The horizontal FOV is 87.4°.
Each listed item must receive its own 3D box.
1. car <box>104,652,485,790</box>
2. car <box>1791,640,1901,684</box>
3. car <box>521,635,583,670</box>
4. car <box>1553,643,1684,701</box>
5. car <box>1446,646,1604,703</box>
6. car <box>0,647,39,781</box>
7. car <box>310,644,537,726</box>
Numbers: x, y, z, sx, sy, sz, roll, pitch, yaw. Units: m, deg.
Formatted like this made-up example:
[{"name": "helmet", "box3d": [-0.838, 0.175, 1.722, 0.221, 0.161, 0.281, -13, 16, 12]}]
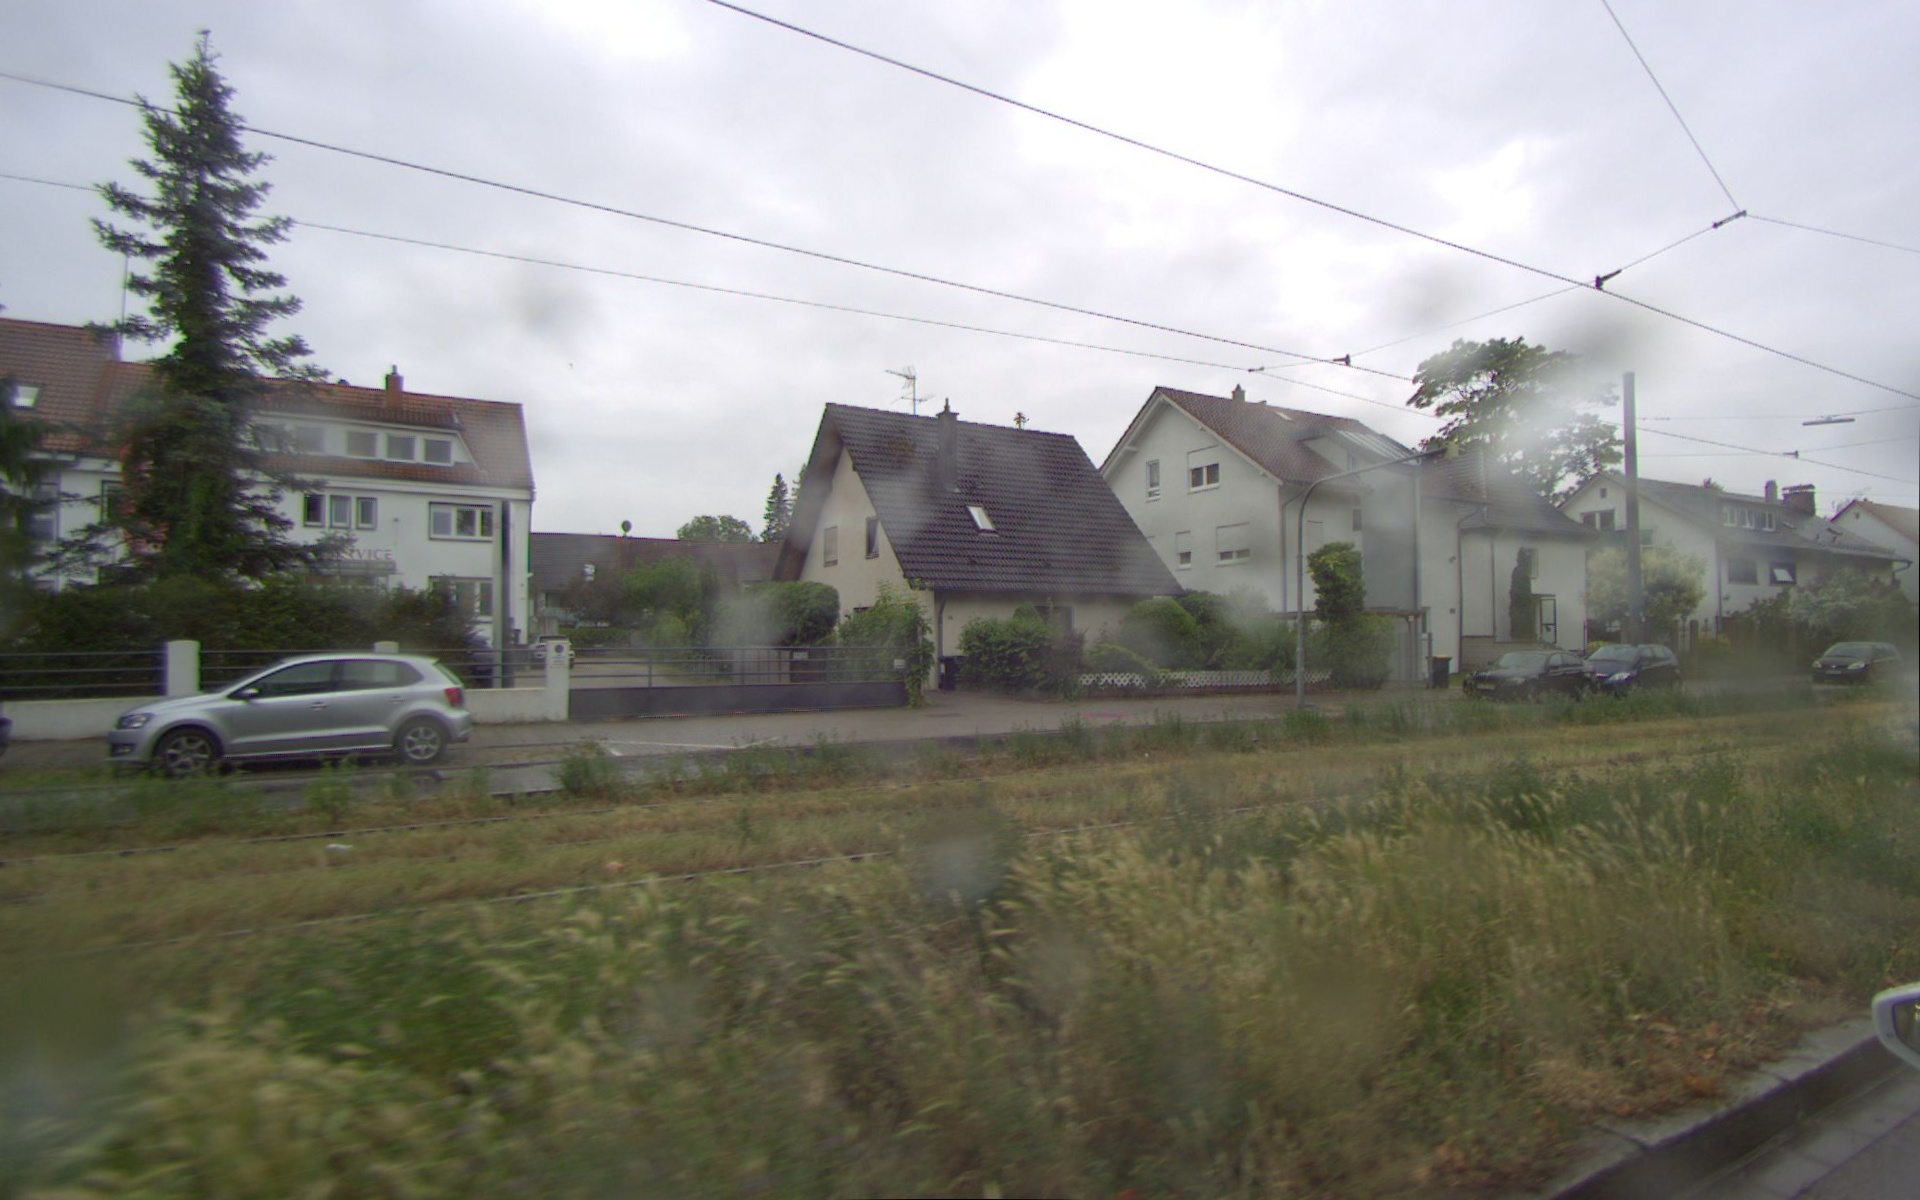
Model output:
[{"name": "car", "box3d": [-8.552, 1.473, 13.300, 3.926, 1.429, 1.983, 1, -1, -31]}, {"name": "car", "box3d": [34.382, 2.364, 38.960, 4.154, 1.536, 1.985, 1, -1, -29]}, {"name": "car", "box3d": [-19.036, 2.416, 46.739, 1.940, 1.572, 3.964, 1, -3, -33]}, {"name": "car", "box3d": [19.860, 2.118, 30.286, 3.825, 1.571, 1.864, 1, -1, -31]}, {"name": "car", "box3d": [15.696, 2.015, 27.875, 4.189, 1.368, 1.985, 1, -1, -29]}, {"name": "car", "box3d": [-12.898, 1.289, 10.470, 4.476, 1.475, 1.985, 1, -1, -29]}, {"name": "car", "box3d": [-10.863, 1.652, 20.482, 3.926, 1.429, 1.690, 1, -1, -31]}]
